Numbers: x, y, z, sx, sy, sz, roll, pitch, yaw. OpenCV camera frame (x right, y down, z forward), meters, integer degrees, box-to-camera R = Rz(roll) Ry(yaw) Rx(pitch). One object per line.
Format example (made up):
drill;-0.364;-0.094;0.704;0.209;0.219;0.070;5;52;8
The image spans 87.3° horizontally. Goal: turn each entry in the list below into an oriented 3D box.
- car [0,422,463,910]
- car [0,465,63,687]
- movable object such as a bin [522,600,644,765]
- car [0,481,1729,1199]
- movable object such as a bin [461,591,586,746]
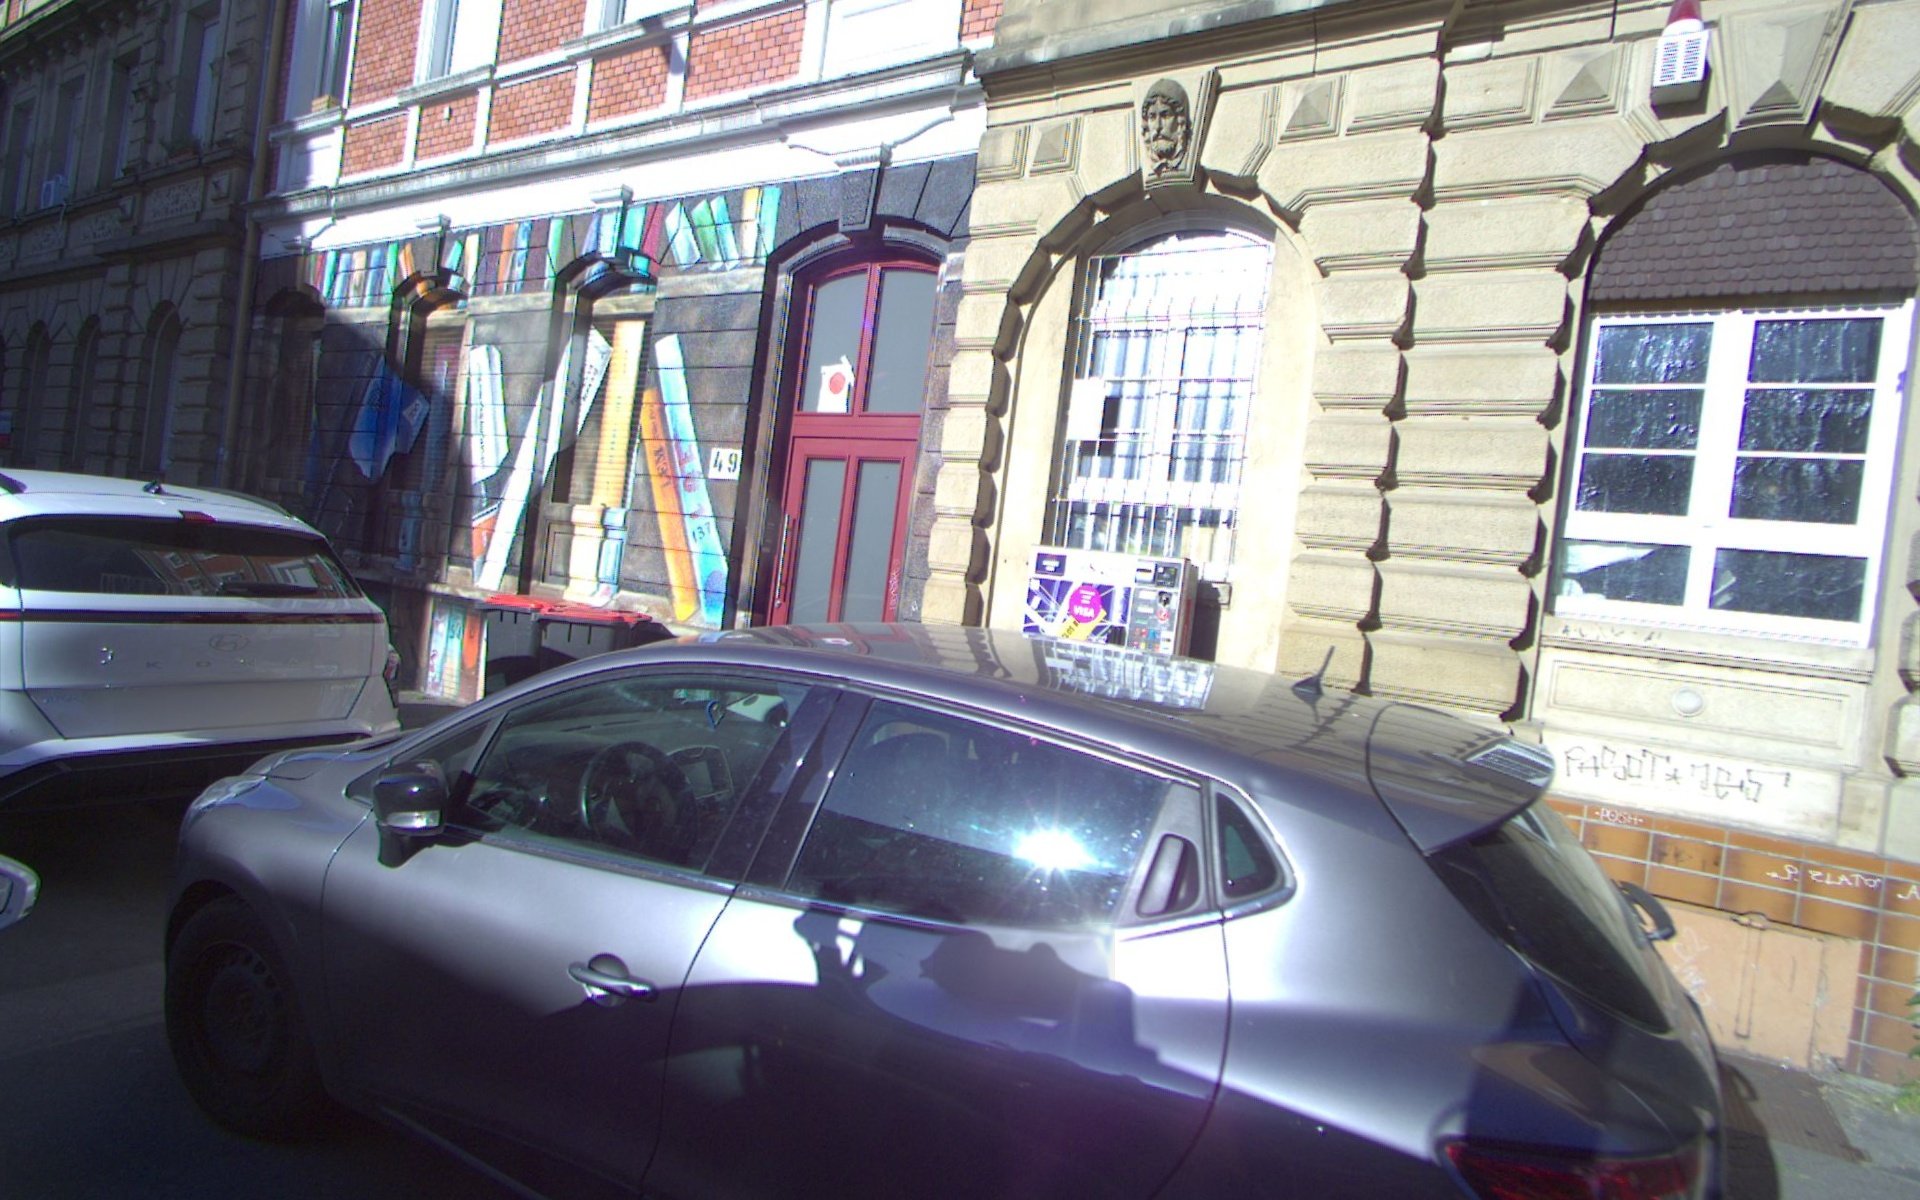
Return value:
car;-4.729;0.127;5.230;4.145;1.709;1.811;6;-2;33
car;-9.077;-0.417;8.074;3.859;1.663;1.689;7;0;32
movable object such as a bin;-2.681;0.569;7.199;0.592;1.067;0.548;6;3;-1
car;-0.602;0.716;2.673;3.840;1.542;1.577;7;-2;28
movable object such as a bin;-3.302;0.495;7.636;0.592;1.067;0.549;7;3;14
